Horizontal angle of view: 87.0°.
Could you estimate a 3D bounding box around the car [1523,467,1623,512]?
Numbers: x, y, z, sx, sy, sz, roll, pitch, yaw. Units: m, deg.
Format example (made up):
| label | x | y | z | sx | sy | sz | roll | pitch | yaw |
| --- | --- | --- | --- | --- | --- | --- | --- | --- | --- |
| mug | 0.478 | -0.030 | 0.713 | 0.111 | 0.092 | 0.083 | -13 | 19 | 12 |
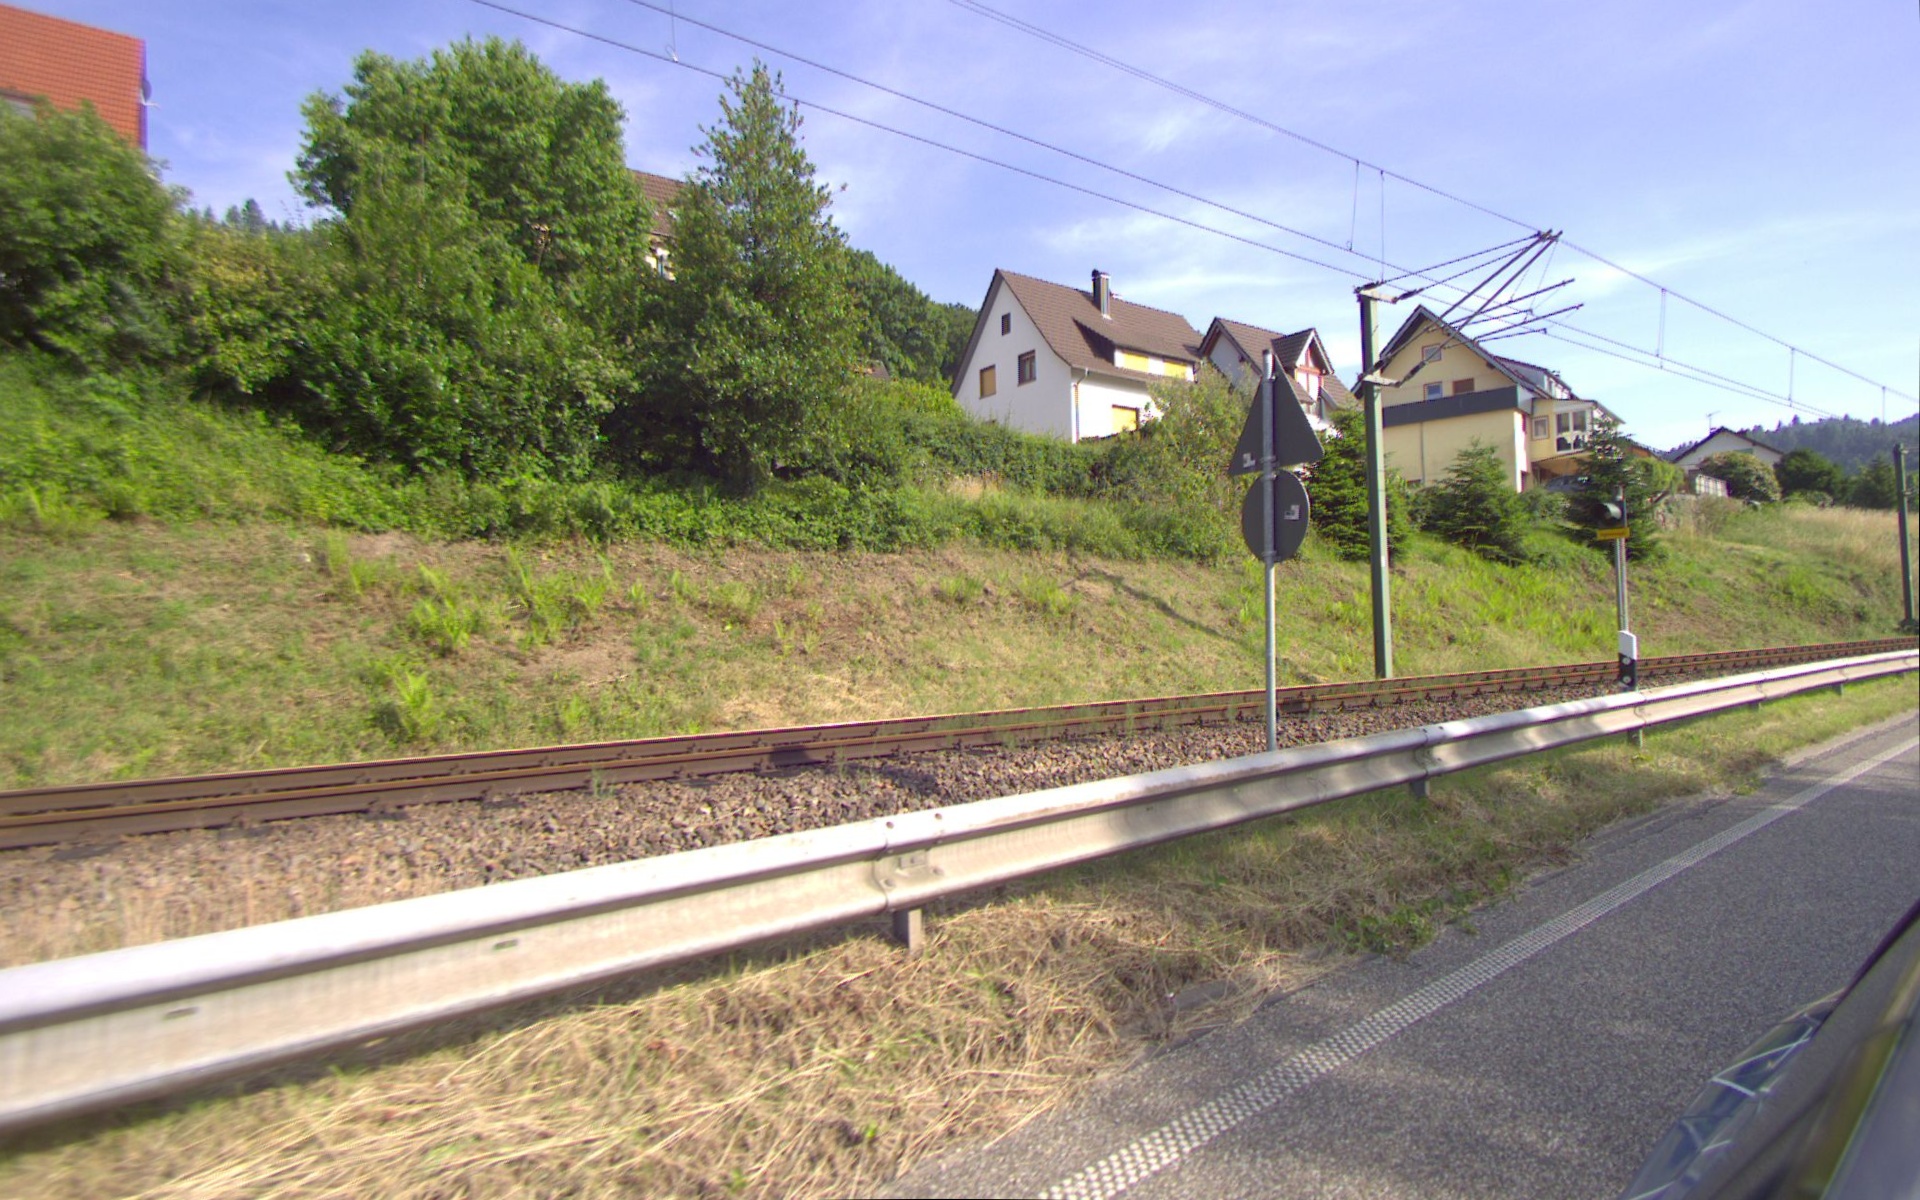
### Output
| label | x | y | z | sx | sy | sz | roll | pitch | yaw |
| --- | --- | --- | --- | --- | --- | --- | --- | --- | --- |
| car | 29.891 | -5.338 | 49.386 | 1.722 | 1.560 | 3.744 | -1 | -3 | -41 |
